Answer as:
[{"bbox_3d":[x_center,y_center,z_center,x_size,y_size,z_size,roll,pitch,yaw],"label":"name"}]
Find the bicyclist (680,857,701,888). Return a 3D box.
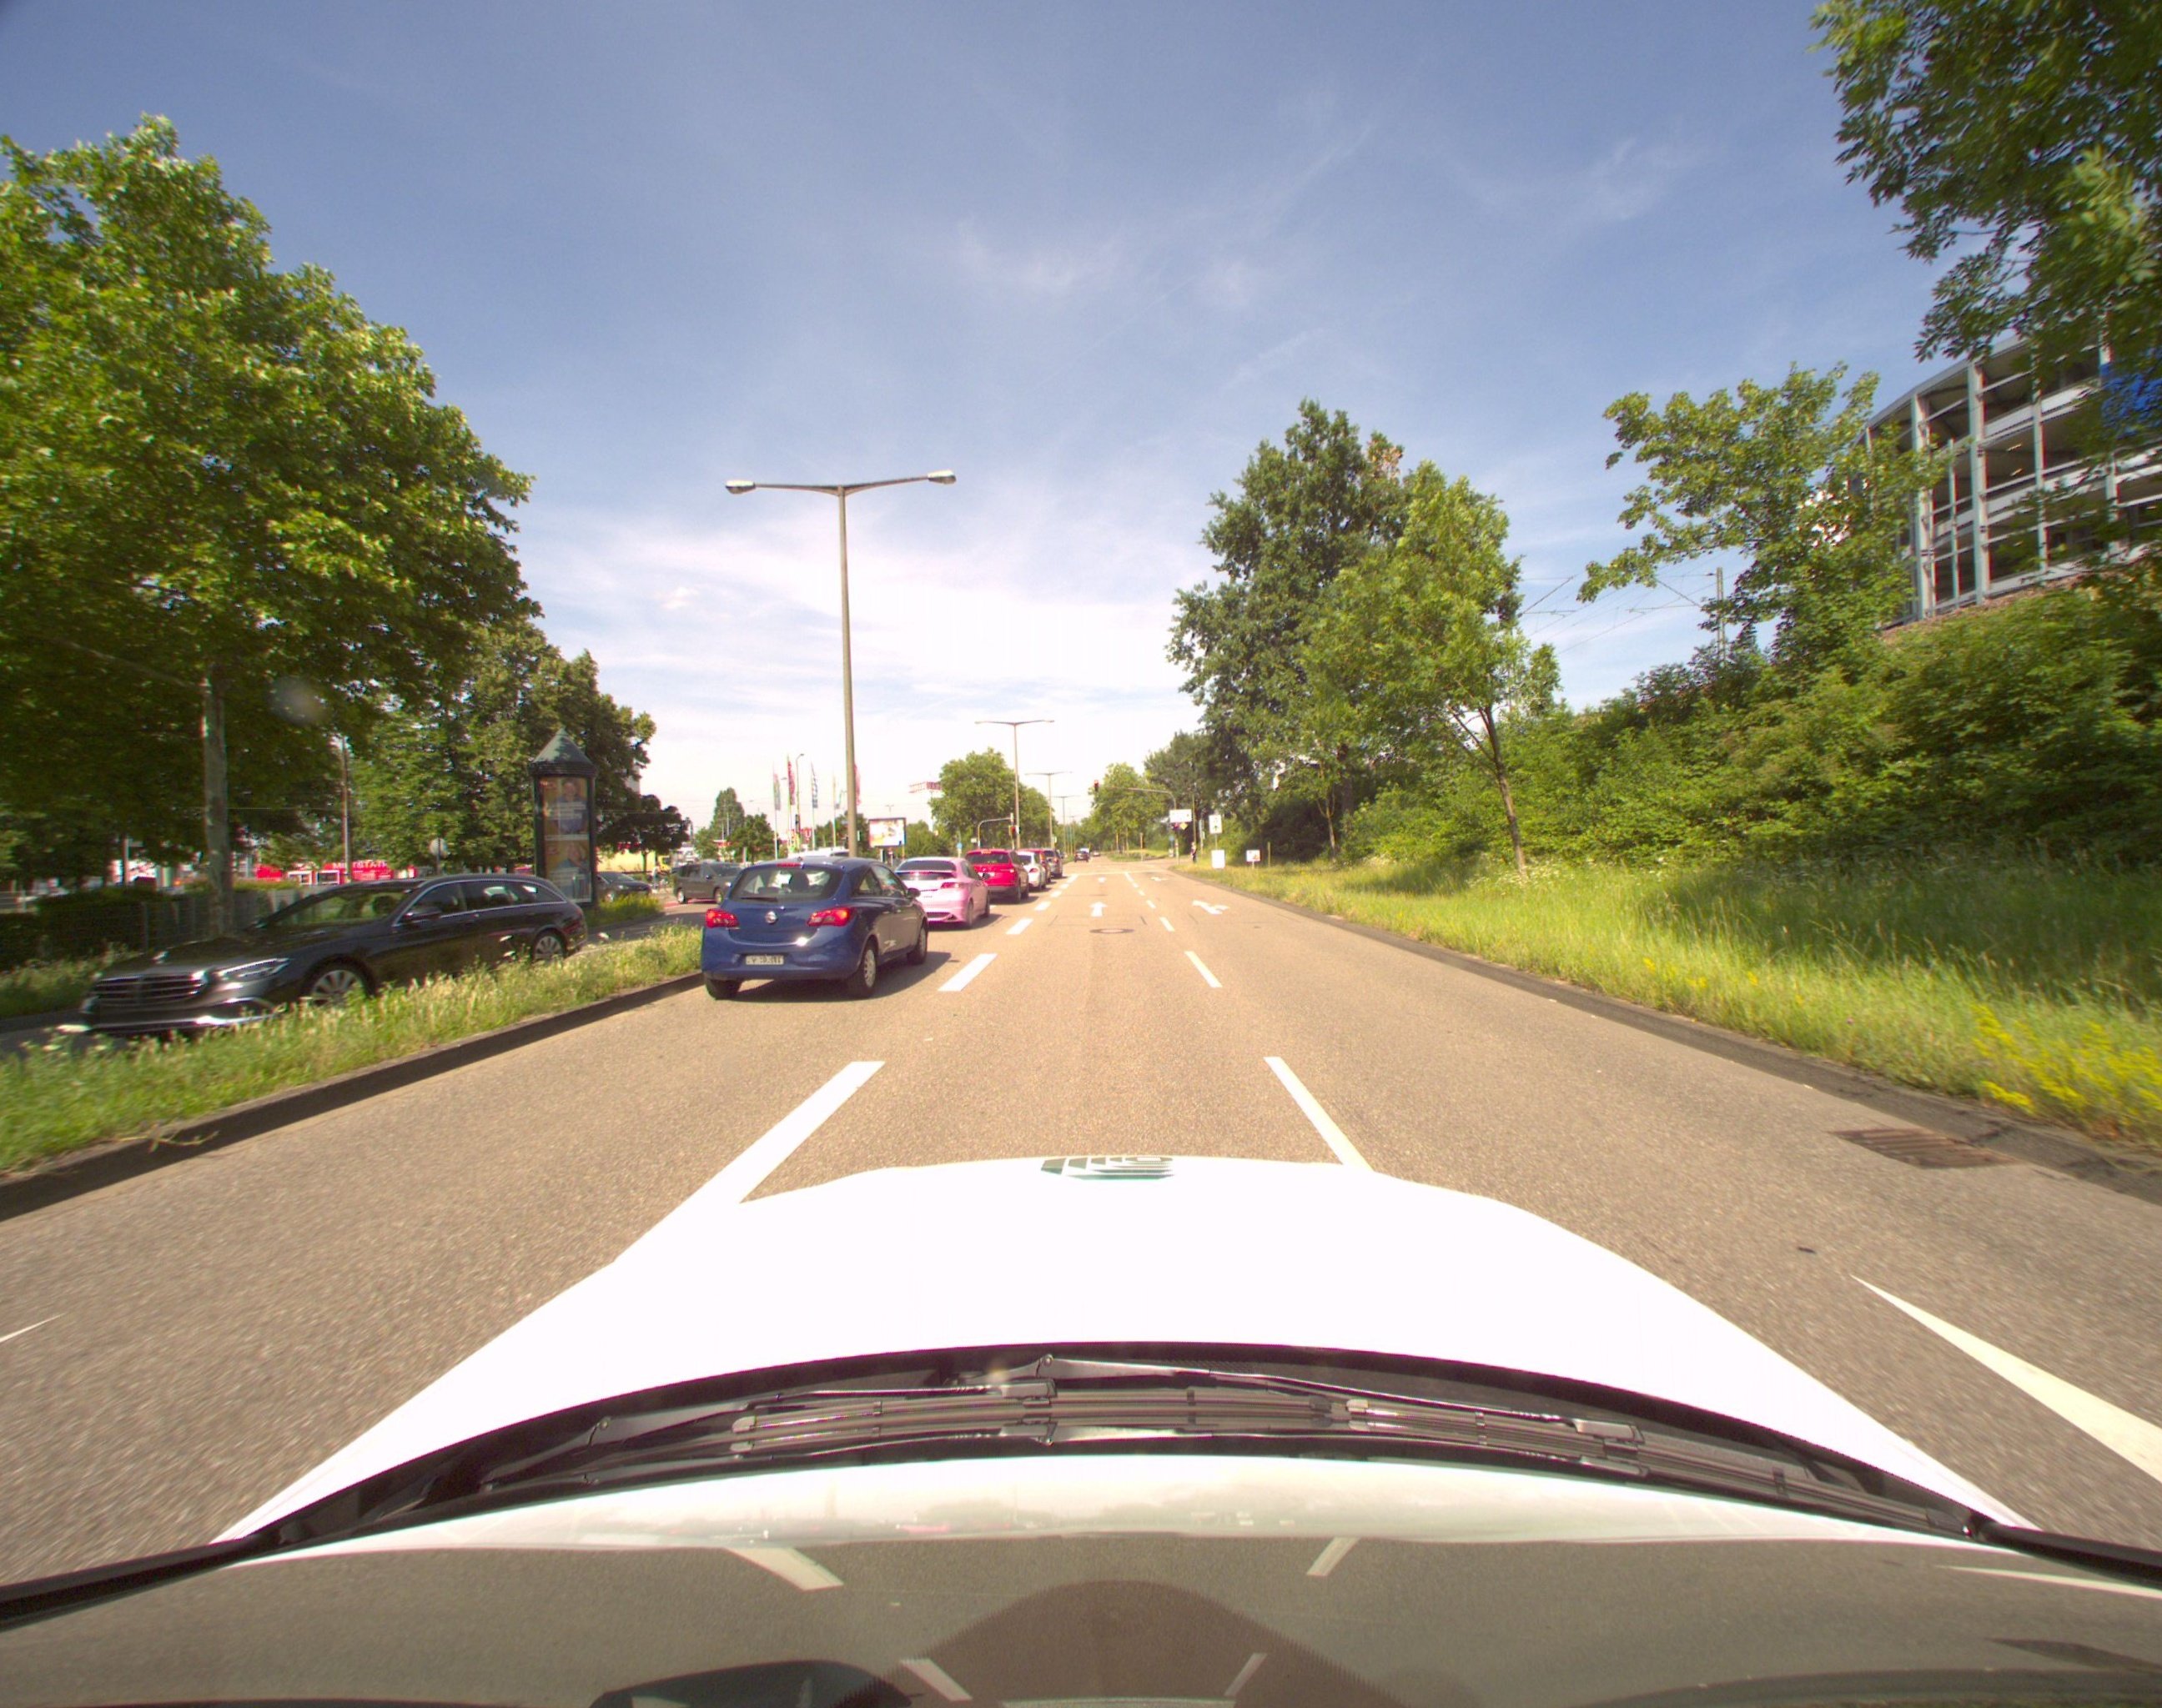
[{"bbox_3d":[-22.503,1.055,46.943,0.904,1.715,0.774,-3,3,-35],"label":"bicyclist"}]

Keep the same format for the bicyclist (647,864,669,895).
[{"bbox_3d":[-23.483,1.418,45.235,0.904,1.646,0.780,-3,3,-35],"label":"bicyclist"}]

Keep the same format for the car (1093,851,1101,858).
[{"bbox_3d":[3.961,0.084,197.319,1.861,1.574,4.001,-3,0,2],"label":"car"}]

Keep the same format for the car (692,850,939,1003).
[{"bbox_3d":[-2.952,0.697,10.005,1.620,1.483,4.049,-1,0,1],"label":"car"}]

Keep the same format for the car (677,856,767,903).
[{"bbox_3d":[-14.863,1.062,33.621,4.344,1.750,1.880,-3,0,44],"label":"car"}]

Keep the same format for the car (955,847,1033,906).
[{"bbox_3d":[-2.532,0.608,24.755,1.776,1.593,4.594,-1,0,1],"label":"car"}]

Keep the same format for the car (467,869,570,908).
[{"bbox_3d":[-27.260,1.658,39.495,4.121,1.603,1.729,-3,0,13],"label":"car"}]

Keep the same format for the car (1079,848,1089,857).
[{"bbox_3d":[0.649,-0.309,167.109,1.986,1.708,4.265,-3,0,2],"label":"car"}]

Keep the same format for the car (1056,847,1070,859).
[{"bbox_3d":[-2.993,-0.114,135.186,1.987,1.895,4.376,-2,0,1],"label":"car"}]

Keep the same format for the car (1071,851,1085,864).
[{"bbox_3d":[-0.376,0.446,110.461,1.730,1.535,4.003,-2,2,2],"label":"car"}]

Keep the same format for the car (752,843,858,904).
[{"bbox_3d":[-10.274,0.659,30.799,1.986,2.013,5.215,-3,0,1],"label":"car"}]

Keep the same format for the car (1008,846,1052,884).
[{"bbox_3d":[-2.304,0.526,37.547,1.623,1.596,3.918,-2,-1,1],"label":"car"}]

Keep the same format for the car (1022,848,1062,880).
[{"bbox_3d":[-2.055,0.502,44.206,1.875,1.618,4.213,-2,0,1],"label":"car"}]

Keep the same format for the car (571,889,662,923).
[{"bbox_3d":[-21.583,2.421,37.844,3.949,1.388,1.776,-2,1,28],"label":"car"}]

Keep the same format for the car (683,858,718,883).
[{"bbox_3d":[-41.699,1.815,89.198,2.011,2.532,4.583,-3,0,-42],"label":"car"}]

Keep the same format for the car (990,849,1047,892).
[{"bbox_3d":[-2.311,0.572,31.047,1.760,1.479,4.136,-1,0,1],"label":"car"}]

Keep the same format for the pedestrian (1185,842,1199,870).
[{"bbox_3d":[7.892,0.108,57.906,0.835,1.932,0.771,-2,2,-2],"label":"pedestrian"}]

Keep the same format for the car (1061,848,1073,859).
[{"bbox_3d":[-2.608,-0.184,149.722,1.986,1.895,4.377,-2,0,1],"label":"car"}]

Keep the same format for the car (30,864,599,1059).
[{"bbox_3d":[-8.061,0.964,9.423,1.986,1.530,4.684,-3,0,2],"label":"car"}]

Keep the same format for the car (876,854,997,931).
[{"bbox_3d":[-2.937,0.718,17.485,1.696,1.390,4.473,-1,0,1],"label":"car"}]

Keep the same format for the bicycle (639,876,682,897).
[{"bbox_3d":[-23.402,1.798,45.292,2.019,1.039,0.736,-3,3,-35],"label":"bicycle"}]
